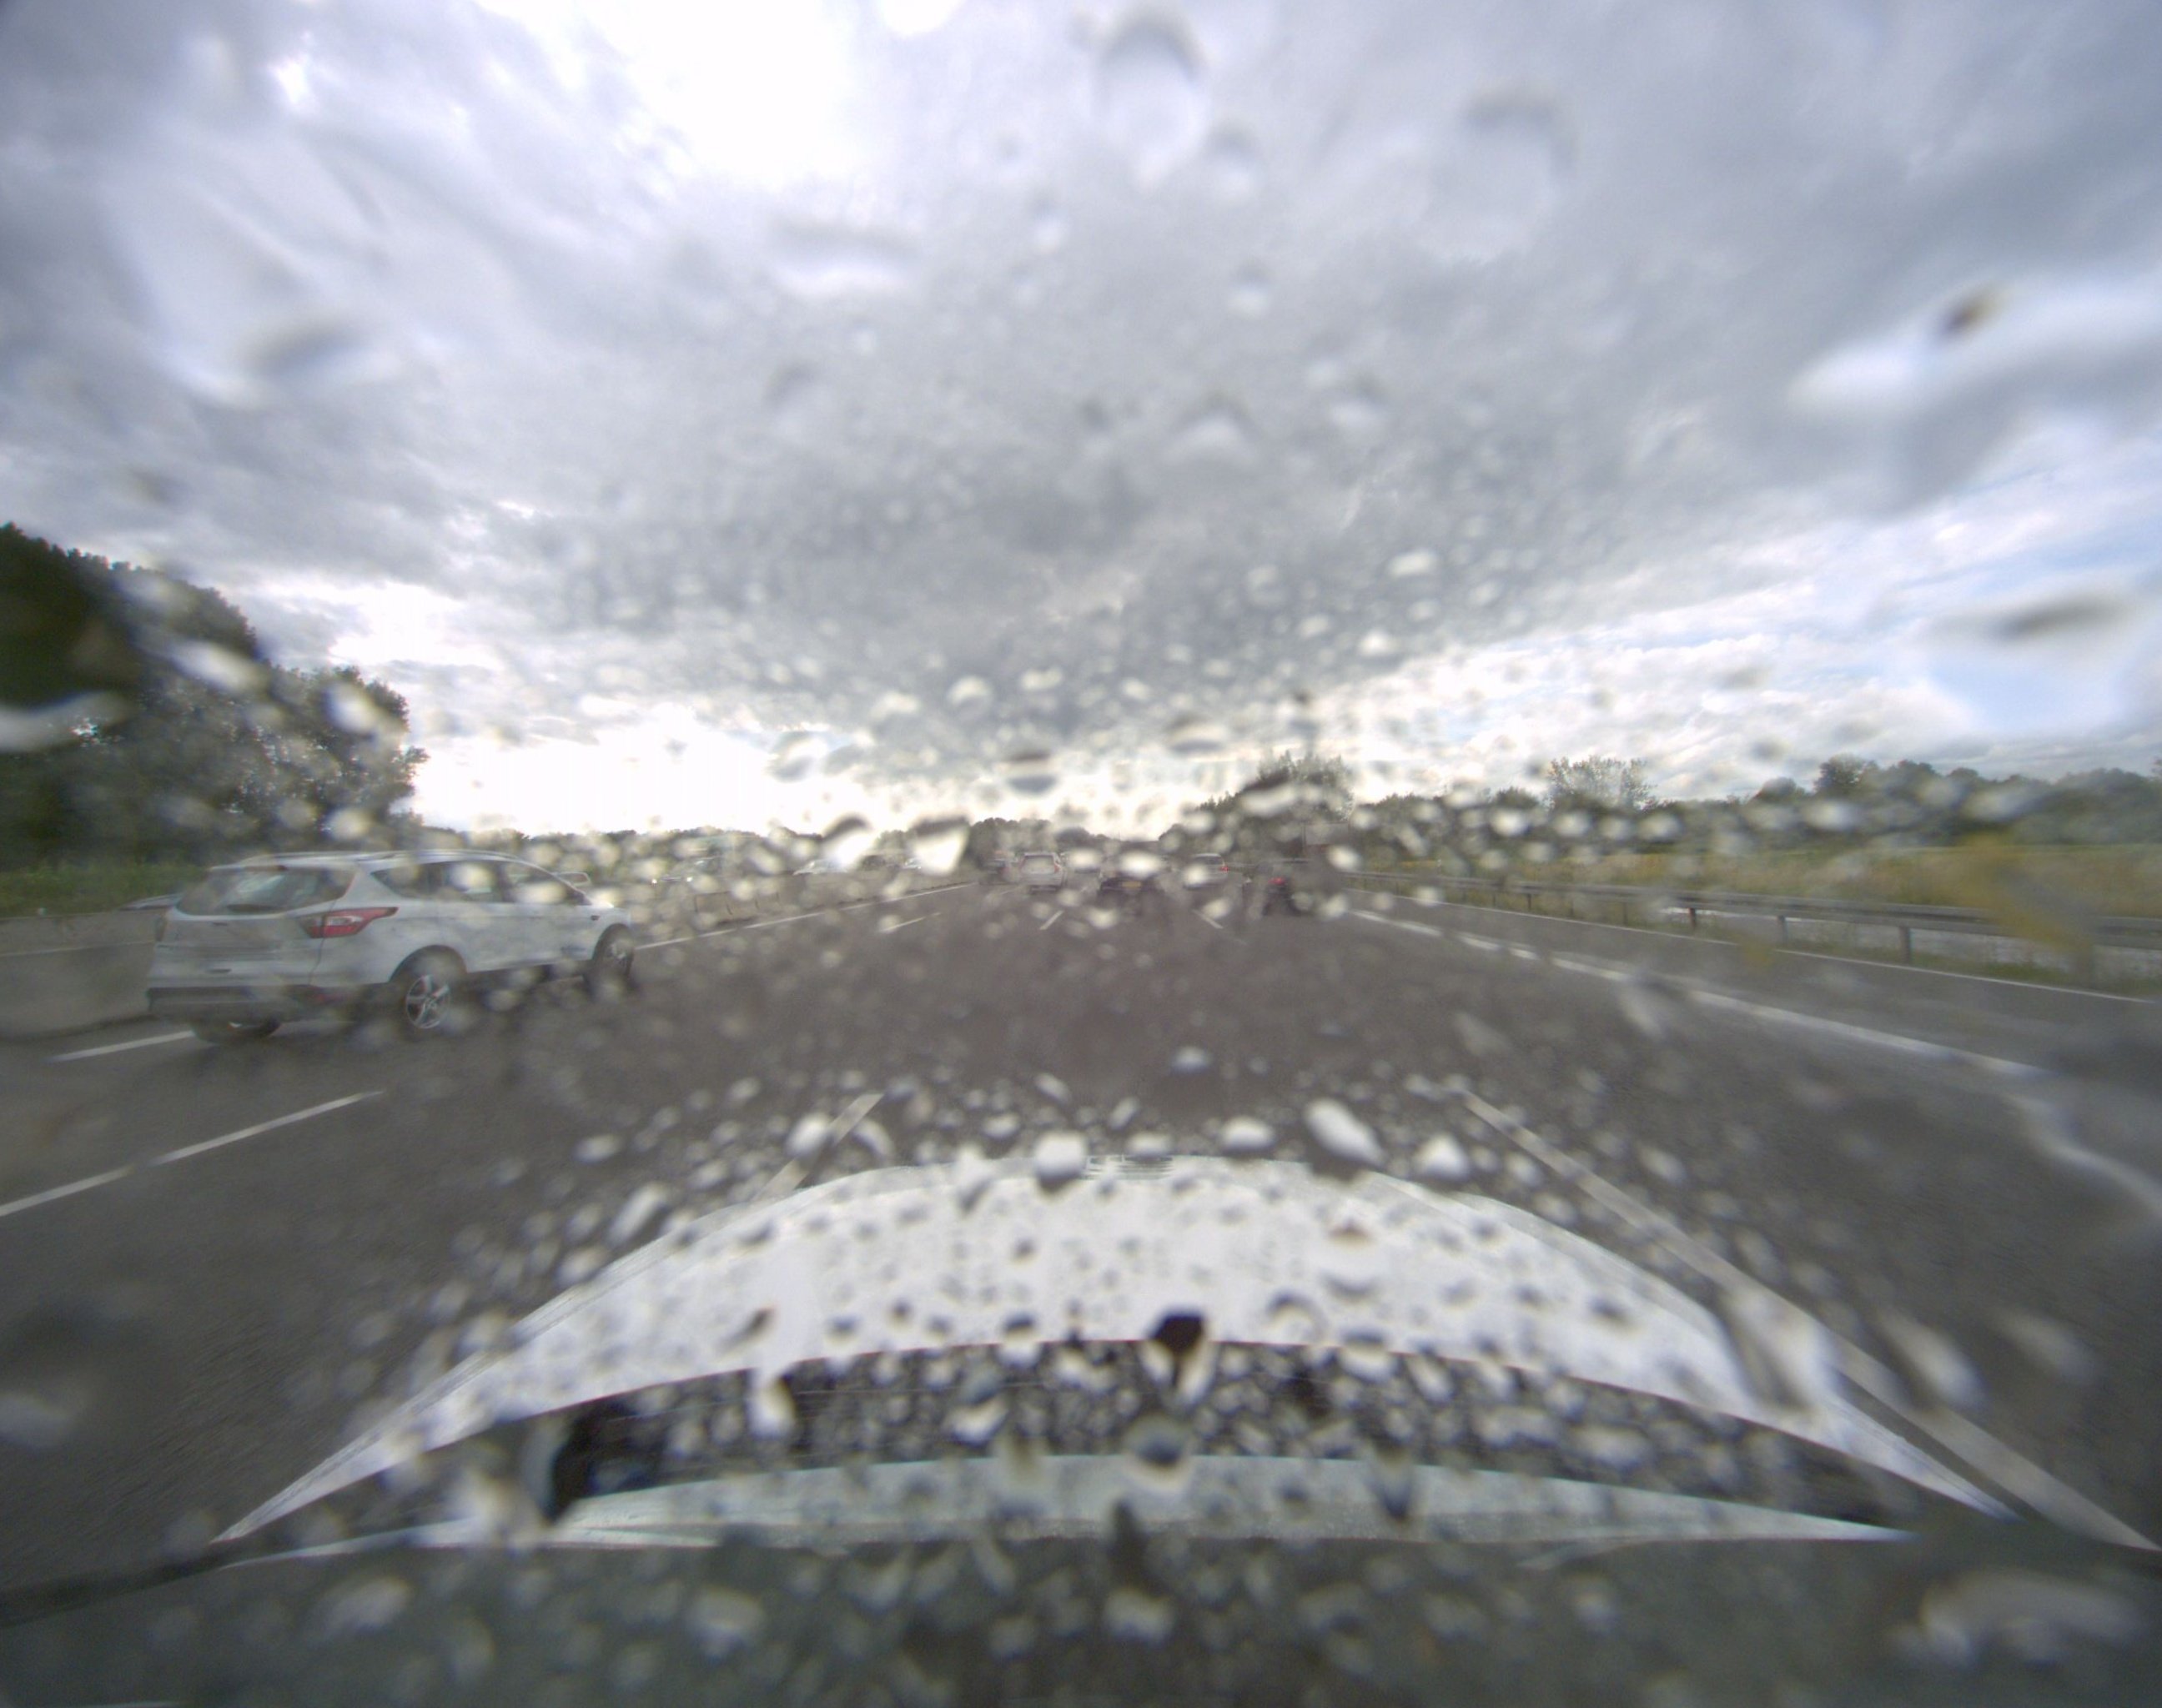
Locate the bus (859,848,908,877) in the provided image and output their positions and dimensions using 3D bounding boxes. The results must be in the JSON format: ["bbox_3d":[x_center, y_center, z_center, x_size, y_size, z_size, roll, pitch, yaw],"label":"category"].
[{"bbox_3d":[-24.033,0.963,99.709,2.819,3.332,9.973,-1,0,4],"label":"bus"}]

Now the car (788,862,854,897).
[{"bbox_3d":[-15.333,1.466,48.317,1.985,1.853,5.081,-2,0,3],"label":"car"}]

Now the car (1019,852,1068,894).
[{"bbox_3d":[-1.604,0.803,35.856,1.774,1.716,4.354,-1,0,2],"label":"car"}]

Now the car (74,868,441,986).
[{"bbox_3d":[-15.991,1.281,16.385,1.986,1.885,5.188,-1,0,1],"label":"car"}]

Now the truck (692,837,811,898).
[{"bbox_3d":[-25.605,0.987,64.625,3.135,4.313,13.960,-1,0,3],"label":"truck"}]

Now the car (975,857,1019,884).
[{"bbox_3d":[-4.874,0.915,48.004,1.772,1.481,4.358,-1,0,5],"label":"car"}]

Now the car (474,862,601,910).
[{"bbox_3d":[-23.805,1.331,35.964,1.985,1.853,5.081,-2,0,3],"label":"car"}]

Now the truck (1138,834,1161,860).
[{"bbox_3d":[10.327,-0.967,123.740,3.120,3.709,9.856,-1,0,3],"label":"truck"}]

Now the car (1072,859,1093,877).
[{"bbox_3d":[0.182,1.337,78.904,1.874,1.686,4.002,-1,0,2],"label":"car"}]

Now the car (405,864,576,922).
[{"bbox_3d":[-20.156,1.258,28.157,1.985,1.704,5.081,-2,0,3],"label":"car"}]

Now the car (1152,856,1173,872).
[{"bbox_3d":[7.473,0.906,75.086,1.787,1.477,4.042,-1,0,4],"label":"car"}]

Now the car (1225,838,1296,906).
[{"bbox_3d":[4.924,0.449,22.258,1.695,1.631,4.473,-1,0,13],"label":"car"}]

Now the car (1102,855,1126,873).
[{"bbox_3d":[2.832,0.834,68.911,1.877,1.407,4.286,-1,0,3],"label":"car"}]

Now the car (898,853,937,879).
[{"bbox_3d":[-13.487,0.979,67.564,1.985,2.013,4.767,-1,0,3],"label":"car"}]

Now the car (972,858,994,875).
[{"bbox_3d":[-12.295,1.576,102.726,1.986,2.013,5.184,-1,0,2],"label":"car"}]

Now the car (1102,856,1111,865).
[{"bbox_3d":[5.330,1.371,172.759,1.874,1.686,4.002,-1,0,2],"label":"car"}]

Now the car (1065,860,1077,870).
[{"bbox_3d":[-1.552,1.656,123.304,1.557,1.477,3.921,-1,0,2],"label":"car"}]

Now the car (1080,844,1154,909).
[{"bbox_3d":[0.914,0.572,22.848,1.776,1.613,4.595,-1,0,-1],"label":"car"}]

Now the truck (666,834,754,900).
[{"bbox_3d":[-25.927,0.883,57.273,3.106,4.282,5.915,-2,0,3],"label":"truck"}]

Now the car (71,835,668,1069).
[{"bbox_3d":[-6.546,0.729,8.503,1.808,1.689,4.854,-2,0,2],"label":"car"}]

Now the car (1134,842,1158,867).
[{"bbox_3d":[7.803,0.087,99.117,2.557,2.895,7.537,-1,0,2],"label":"car"}]

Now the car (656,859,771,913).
[{"bbox_3d":[-14.401,1.195,32.303,1.985,1.898,5.189,-1,0,2],"label":"car"}]

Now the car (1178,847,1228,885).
[{"bbox_3d":[5.528,0.531,37.426,1.803,1.599,4.699,-1,0,3],"label":"car"}]
